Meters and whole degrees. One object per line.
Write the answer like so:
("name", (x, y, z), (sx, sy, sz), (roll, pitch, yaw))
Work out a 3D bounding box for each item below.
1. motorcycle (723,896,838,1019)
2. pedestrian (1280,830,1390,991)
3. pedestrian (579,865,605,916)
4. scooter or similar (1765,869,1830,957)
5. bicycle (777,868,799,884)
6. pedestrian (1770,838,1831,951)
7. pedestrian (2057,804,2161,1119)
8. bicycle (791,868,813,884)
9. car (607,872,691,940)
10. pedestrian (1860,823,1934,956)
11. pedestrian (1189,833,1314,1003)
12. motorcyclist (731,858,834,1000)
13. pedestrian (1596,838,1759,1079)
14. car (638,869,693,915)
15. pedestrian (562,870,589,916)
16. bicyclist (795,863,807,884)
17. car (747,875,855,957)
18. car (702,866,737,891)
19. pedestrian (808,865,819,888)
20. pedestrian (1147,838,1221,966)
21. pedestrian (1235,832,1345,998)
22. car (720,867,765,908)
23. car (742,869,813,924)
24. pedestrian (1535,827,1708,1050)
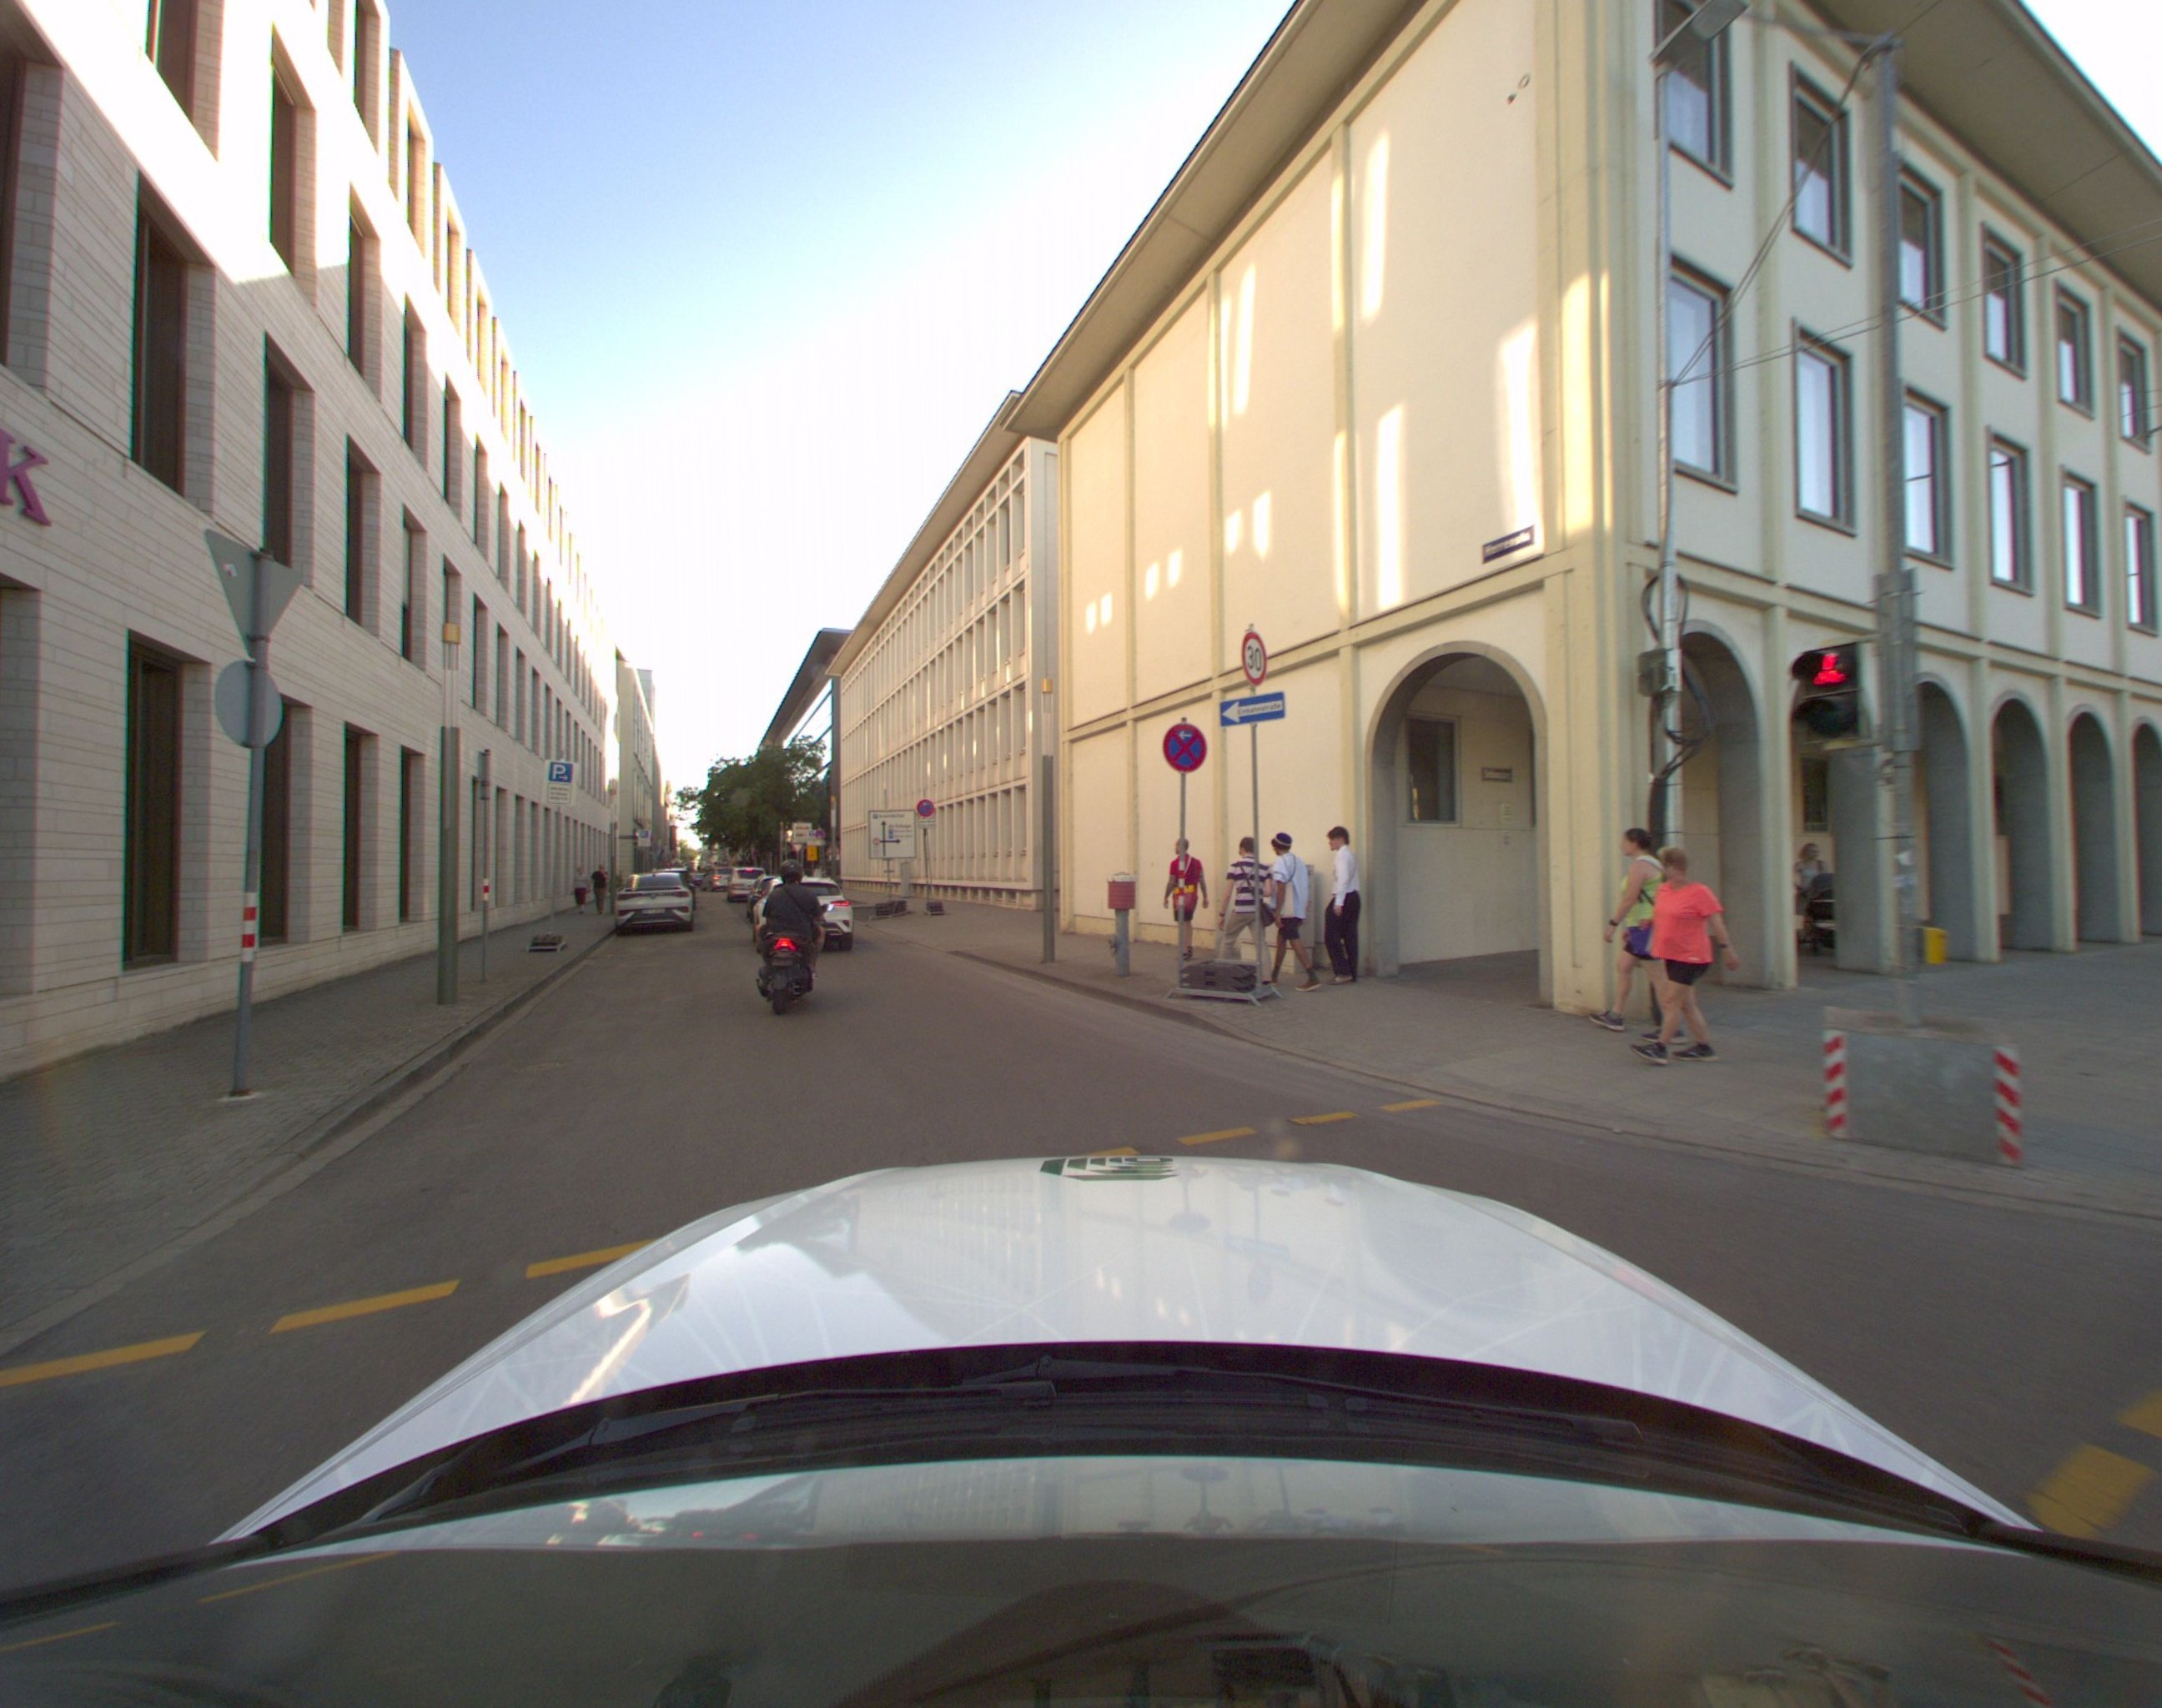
("motorcycle", (-3.538, 1.151, 9.853), (0.906, 1.183, 2.568), (-1, -1, -12))
("pedestrian", (3.010, 0.632, 9.704), (0.713, 1.777, 0.933), (-3, 0, -26))
("pedestrian", (-17.493, 1.301, 29.135), (0.708, 1.786, 0.721), (-1, -1, -26))
("scooter or similar", (10.363, 0.824, 11.774), (0.612, 1.157, 0.964), (-2, 1, 45))
("bicycle", (-23.409, 1.751, 65.094), (1.561, 1.250, 0.551), (-1, -1, -5))
("pedestrian", (10.946, 0.601, 12.388), (0.612, 1.624, 0.731), (-2, 1, 45))
("pedestrian", (6.341, 0.592, 4.545), (0.800, 1.728, 0.969), (0, 1, -26))
("bicycle", (-22.818, 1.819, 66.584), (1.561, 1.250, 0.551), (-1, -1, -5))
("car", (-11.855, 1.335, 22.573), (1.820, 1.606, 4.231), (-2, 0, -26))
("pedestrian", (11.830, 0.499, 11.826), (0.634, 1.840, 0.732), (-2, 1, 39))
("pedestrian", (1.955, 0.694, 9.478), (0.718, 1.801, 1.236), (-3, 0, -26))
("motorcyclist", (-3.528, 0.843, 9.737), (0.954, 1.560, 1.234), (-1, -1, -12))
("pedestrian", (4.398, 0.718, 6.031), (0.621, 1.624, 0.721), (-3, 1, -26))
("car", (-16.534, 1.480, 32.561), (1.820, 1.646, 3.485), (-2, 0, -26))
("pedestrian", (-18.268, 1.407, 29.430), (0.708, 1.613, 0.853), (-1, -1, -26))
("bicyclist", (-22.863, 1.581, 66.588), (0.746, 1.706, 0.736), (-1, -1, -5))
("car", (-6.053, 1.214, 17.303), (1.867, 1.472, 3.969), (1, -2, -23))
("car", (-24.418, 1.655, 54.883), (1.909, 1.596, 3.964), (0, -1, -28))
("pedestrian", (-18.463, 1.538, 56.302), (0.646, 1.601, 0.615), (-1, -1, -24))
("pedestrian", (1.536, 0.695, 12.224), (0.713, 1.801, 0.769), (-3, 0, -26))
("pedestrian", (2.408, 0.668, 9.439), (0.713, 1.777, 0.933), (-3, 0, -26))
("car", (-16.662, 1.590, 40.013), (1.933, 1.857, 3.968), (-1, -1, -24))
("car", (-9.690, 1.273, 25.839), (1.783, 1.550, 4.072), (-1, -1, -25))
("pedestrian", (4.555, 0.652, 6.909), (0.677, 1.709, 0.959), (-3, 1, -26))
